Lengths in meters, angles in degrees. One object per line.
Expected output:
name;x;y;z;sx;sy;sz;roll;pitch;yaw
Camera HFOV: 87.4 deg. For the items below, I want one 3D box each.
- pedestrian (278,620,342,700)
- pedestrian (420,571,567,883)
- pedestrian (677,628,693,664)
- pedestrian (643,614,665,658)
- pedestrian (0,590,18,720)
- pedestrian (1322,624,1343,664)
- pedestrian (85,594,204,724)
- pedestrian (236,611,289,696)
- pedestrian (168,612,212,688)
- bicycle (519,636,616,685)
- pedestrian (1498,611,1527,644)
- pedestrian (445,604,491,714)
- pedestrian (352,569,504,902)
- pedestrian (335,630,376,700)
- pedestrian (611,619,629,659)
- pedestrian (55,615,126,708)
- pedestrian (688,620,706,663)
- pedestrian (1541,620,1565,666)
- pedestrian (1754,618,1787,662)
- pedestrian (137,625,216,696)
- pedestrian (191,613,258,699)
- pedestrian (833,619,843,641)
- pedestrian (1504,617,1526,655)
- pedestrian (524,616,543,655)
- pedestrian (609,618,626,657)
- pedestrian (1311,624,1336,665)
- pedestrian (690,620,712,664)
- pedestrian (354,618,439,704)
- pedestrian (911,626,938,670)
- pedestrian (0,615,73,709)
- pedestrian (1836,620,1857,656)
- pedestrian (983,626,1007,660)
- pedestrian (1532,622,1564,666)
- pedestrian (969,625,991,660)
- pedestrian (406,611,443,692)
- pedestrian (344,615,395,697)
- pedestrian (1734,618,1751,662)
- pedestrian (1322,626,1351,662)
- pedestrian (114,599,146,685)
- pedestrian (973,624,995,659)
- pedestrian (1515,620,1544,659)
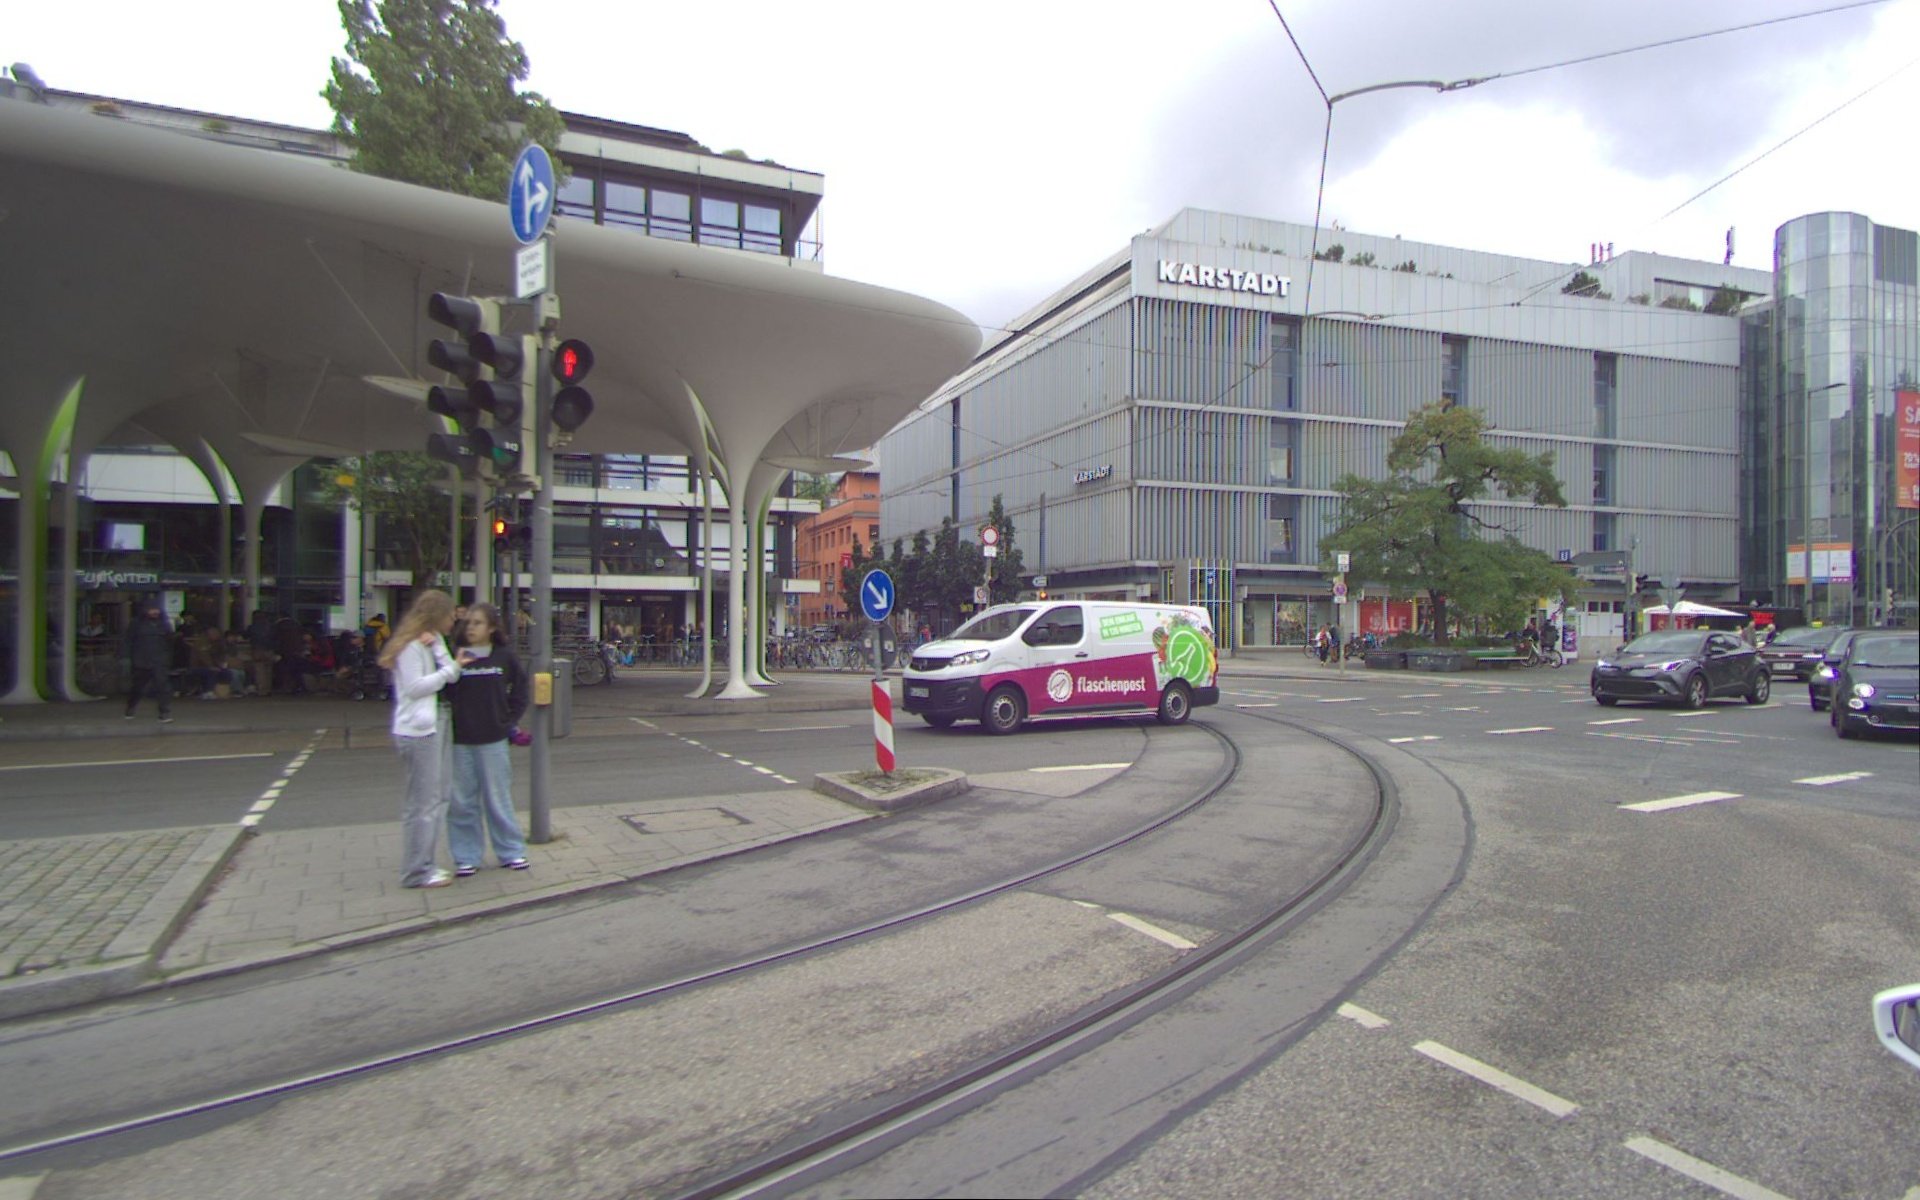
pedestrian;-12.347;1.120;19.095;0.539;1.477;0.875;0;-1;12
pedestrian;-2.610;0.672;5.645;0.478;1.640;0.557;0;-1;26
pedestrian;-11.959;1.992;43.681;0.589;1.555;0.503;1;-1;-26
pedestrian;-14.191;1.653;46.580;0.903;2.040;0.832;1;-1;-19
pedestrian;-12.900;0.715;13.145;0.742;1.697;0.625;1;-1;-38
pedestrian;16.077;1.886;43.367;0.774;1.710;0.862;0;-1;25
pedestrian;-11.091;0.785;13.681;0.954;1.703;0.842;0;-1;14
pedestrian;-13.437;1.015;19.364;0.488;1.604;0.666;0;-1;12
pedestrian;-16.816;1.075;21.935;0.609;1.624;0.538;0;-1;30
bicycle;-9.449;1.448;24.260;2.133;1.139;0.640;1;-1;-21
pedestrian;21.834;1.098;39.713;1.032;1.292;0.542;1;-1;-29
pedestrian;-7.975;0.944;16.304;0.606;1.743;0.545;1;-1;-23
pedestrian;-2.774;0.672;5.268;0.454;1.640;0.522;0;-1;14
pedestrian;-11.067;1.186;18.414;0.605;1.252;0.535;1;-1;-30
pedestrian;-13.943;1.595;41.188;0.663;1.613;0.592;1;-1;-20
pedestrian;-17.941;1.240;20.746;0.829;1.852;1.003;1;-1;-26
pedestrian;-11.328;1.796;43.281;0.679;1.824;0.592;1;-1;-20
pedestrian;23.563;1.702;39.888;0.739;1.796;0.770;-1;-1;37
pedestrian;32.048;1.578;39.741;0.741;1.713;0.768;0;-1;-25
pedestrian;-15.203;1.152;19.504;0.822;1.335;0.880;0;-1;16
pedestrian;-14.033;1.051;19.174;0.539;1.604;0.875;0;-1;12
pedestrian;-11.232;2.765;92.273;0.728;2.040;0.870;1;-1;-23
pedestrian;22.328;1.456;40.424;0.737;1.513;0.772;0;-1;25
pedestrian;-17.848;1.484;42.034;0.663;1.613;0.592;1;-1;-21
pedestrian;-14.287;1.573;41.895;0.663;1.613;0.592;1;-1;-20
pedestrian;14.425;1.768;39.846;0.709;1.595;0.637;1;-1;-19
pedestrian;-10.993;1.768;42.667;0.815;1.824;0.718;1;-1;-20
pedestrian;-10.028;1.064;17.903;0.839;1.472;1.023;0;-1;29
pedestrian;-1.385;1.844;38.803;0.779;1.664;0.853;1;-1;-25
pedestrian;-18.700;1.226;20.346;0.829;1.845;1.003;1;-1;-26
pedestrian;46.245;1.969;52.401;0.618;1.841;0.557;1;-1;-19
pedestrian;1.634;2.017;47.426;0.934;1.609;0.739;0;-1;-18
pedestrian;22.845;1.693;39.030;0.740;1.676;0.769;0;-1;-19
pedestrian;0.984;2.042;48.879;0.838;1.676;0.799;1;-1;-18
pedestrian;-10.912;1.039;20.486;0.616;1.632;0.594;1;-1;-26
pedestrian;-11.382;1.061;19.393;0.787;1.550;0.730;1;-1;-27
pedestrian;31.646;1.604;40.608;0.348;1.783;0.447;0;-1;6
pedestrian;16.833;1.961;44.930;0.962;1.602;0.796;1;-1;-19
pedestrian;-19.184;0.958;23.213;0.475;1.958;0.422;0;-1;32
pedestrian;1.168;1.996;48.227;0.838;1.676;0.799;0;-1;-18
pedestrian;23.224;1.617;40.960;0.737;1.575;0.772;0;-1;-3
